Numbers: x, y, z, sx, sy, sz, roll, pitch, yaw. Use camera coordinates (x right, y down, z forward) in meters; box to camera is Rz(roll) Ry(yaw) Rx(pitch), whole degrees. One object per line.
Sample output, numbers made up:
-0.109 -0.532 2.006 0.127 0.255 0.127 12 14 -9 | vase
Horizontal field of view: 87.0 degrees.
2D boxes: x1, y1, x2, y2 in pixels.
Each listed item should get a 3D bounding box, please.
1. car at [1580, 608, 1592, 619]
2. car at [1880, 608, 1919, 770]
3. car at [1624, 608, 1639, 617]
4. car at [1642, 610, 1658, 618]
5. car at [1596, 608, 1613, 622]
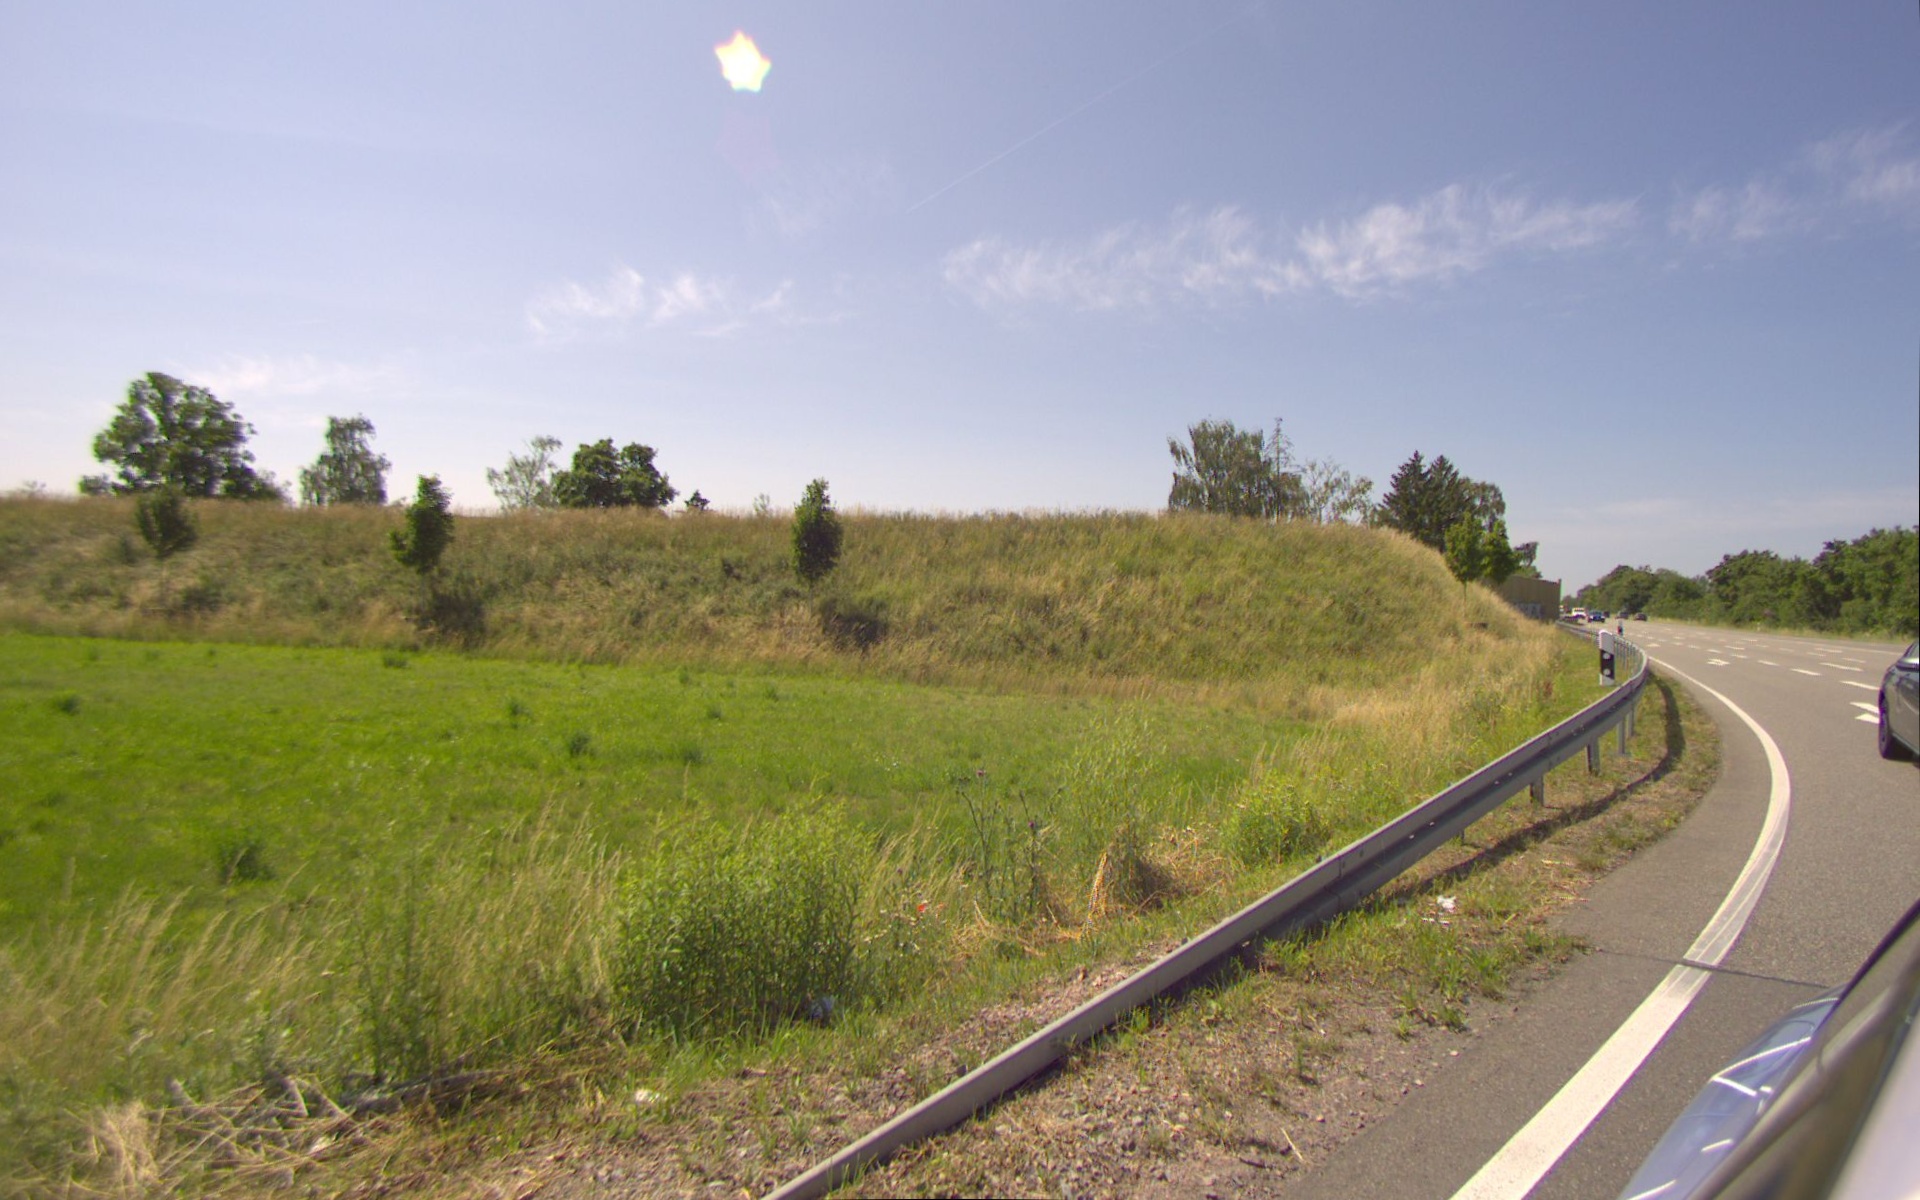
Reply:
106.446 2.332 172.062 1.789 1.705 3.954 0 0 32 | car
9.671 0.822 8.885 1.884 1.465 4.466 0 0 36 | car
137.384 2.601 207.100 2.016 1.660 4.524 2 1 28 | car
126.166 2.601 185.076 1.867 1.416 4.485 0 0 29 | car
86.030 1.973 135.204 1.788 1.705 3.956 0 0 31 | car
